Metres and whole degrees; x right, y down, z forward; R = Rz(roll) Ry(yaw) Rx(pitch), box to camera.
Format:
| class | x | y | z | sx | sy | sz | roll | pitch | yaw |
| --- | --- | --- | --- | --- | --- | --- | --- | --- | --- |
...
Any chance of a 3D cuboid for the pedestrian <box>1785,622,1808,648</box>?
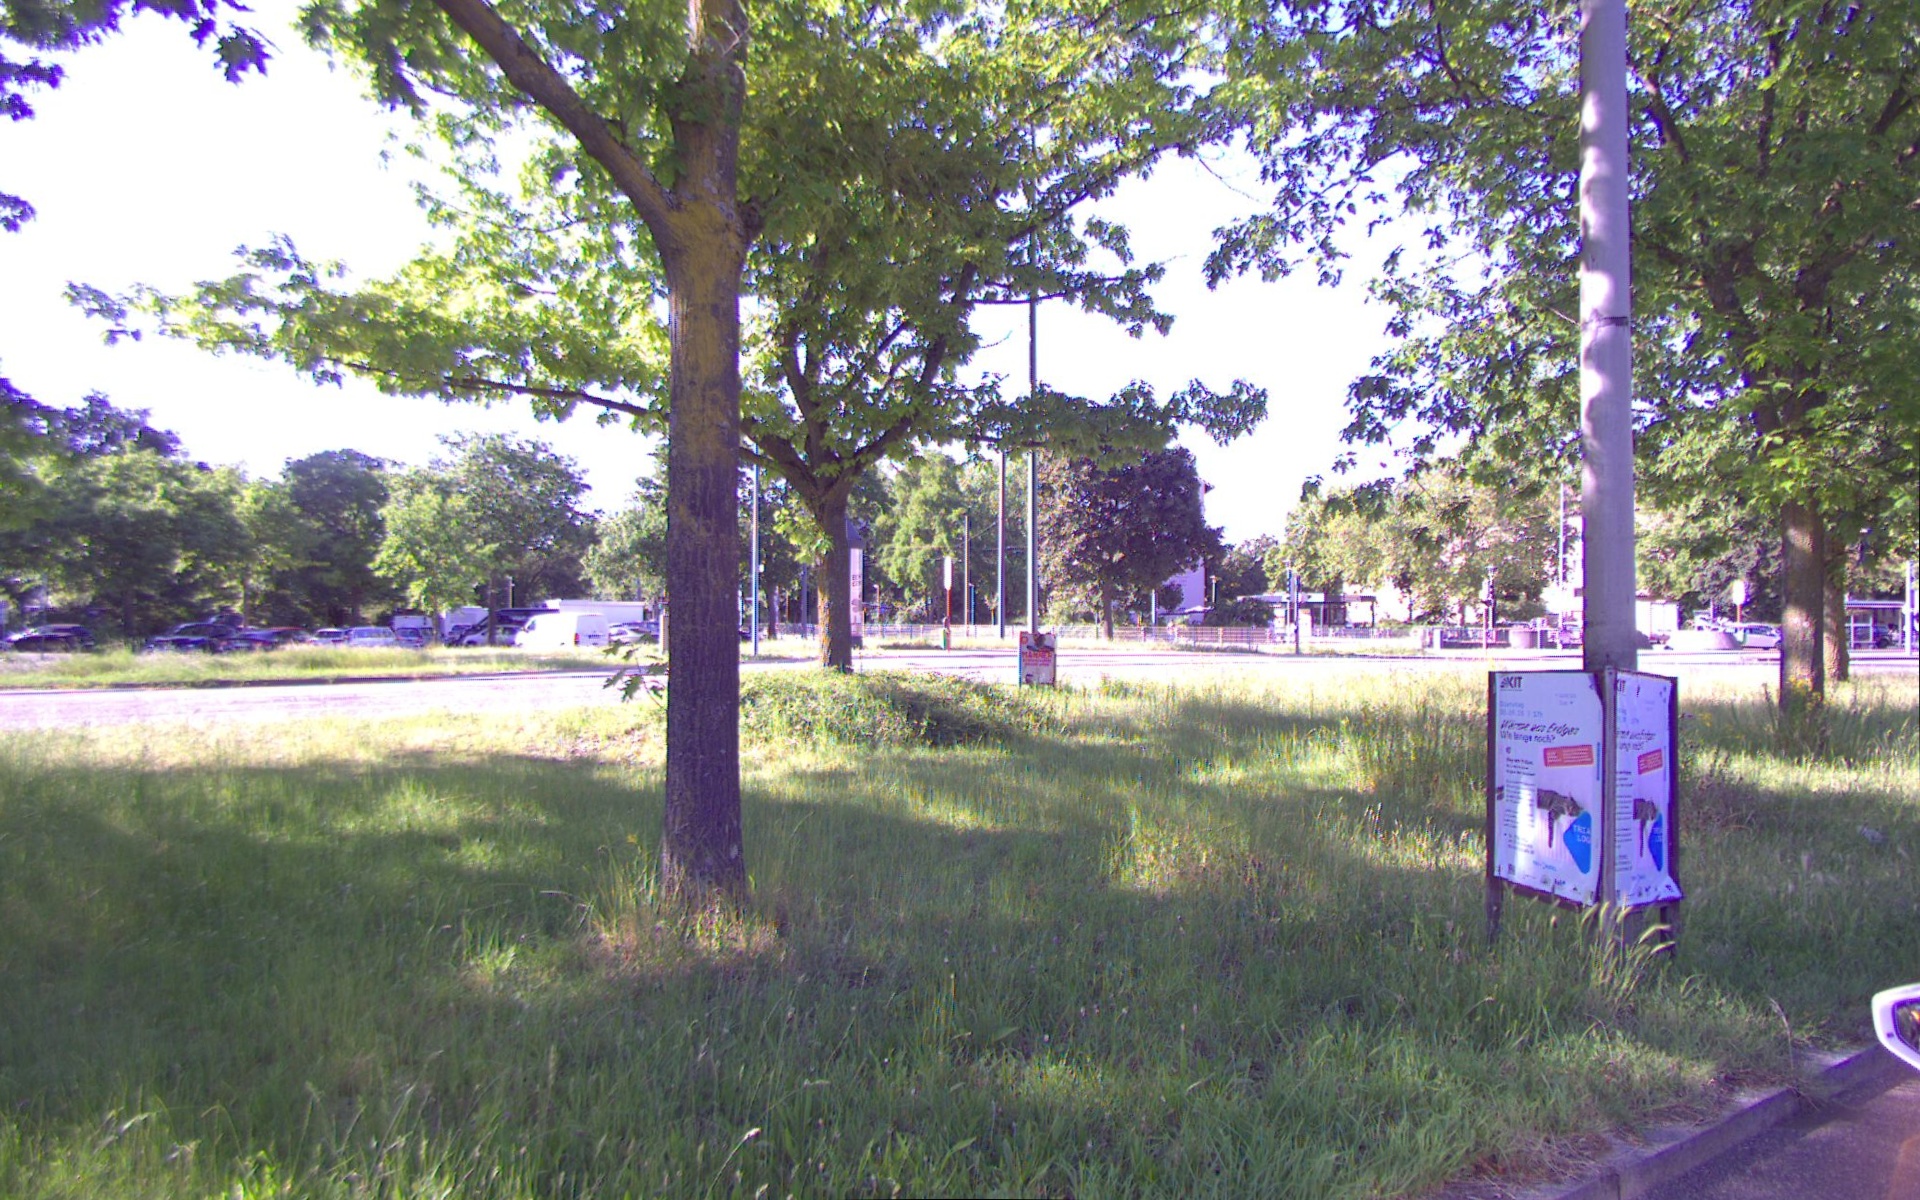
| class | x | y | z | sx | sy | sz | roll | pitch | yaw |
| --- | --- | --- | --- | --- | --- | --- | --- | --- | --- |
| pedestrian | 53.646 | 2.232 | 64.440 | 0.781 | 1.629 | 0.923 | 0 | -1 | 9 |

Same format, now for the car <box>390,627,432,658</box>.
| class | x | y | z | sx | sy | sz | roll | pitch | yaw |
| --- | --- | --- | --- | --- | --- | --- | --- | --- | --- |
| car | -26.696 | 2.032 | 48.784 | 1.602 | 1.438 | 3.050 | 1 | -1 | -33 |

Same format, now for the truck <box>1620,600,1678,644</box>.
| class | x | y | z | sx | sy | sz | roll | pitch | yaw |
| --- | --- | --- | --- | --- | --- | --- | --- | --- | --- |
| truck | 46.647 | 1.477 | 68.089 | 1.960 | 2.842 | 4.002 | 0 | -1 | 15 |

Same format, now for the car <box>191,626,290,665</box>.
| class | x | y | z | sx | sy | sz | roll | pitch | yaw |
| --- | --- | --- | --- | --- | --- | --- | --- | --- | --- |
| car | -25.229 | 1.566 | 35.249 | 2.769 | 1.323 | 1.326 | 1 | -1 | -40 |

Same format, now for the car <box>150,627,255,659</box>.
| class | x | y | z | sx | sy | sz | roll | pitch | yaw |
| --- | --- | --- | --- | --- | --- | --- | --- | --- | --- |
| car | -26.839 | 1.507 | 35.634 | 1.315 | 1.078 | 2.777 | -1 | -1 | 42 |

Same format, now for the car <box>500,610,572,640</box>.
| class | x | y | z | sx | sy | sz | roll | pitch | yaw |
| --- | --- | --- | --- | --- | --- | --- | --- | --- | --- |
| car | -24.124 | 1.416 | 57.294 | 3.698 | 1.691 | 1.883 | 1 | -1 | -23 |

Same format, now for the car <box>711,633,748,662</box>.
| class | x | y | z | sx | sy | sz | roll | pitch | yaw |
| --- | --- | --- | --- | --- | --- | --- | --- | --- | --- |
| car | -12.025 | 2.457 | 52.492 | 1.589 | 1.438 | 3.073 | 0 | -1 | -8 |

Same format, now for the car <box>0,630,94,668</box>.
| class | x | y | z | sx | sy | sz | roll | pitch | yaw |
| --- | --- | --- | --- | --- | --- | --- | --- | --- | --- |
| car | -47.654 | 2.501 | 51.911 | 1.966 | 1.817 | 3.990 | 0 | -1 | 32 |

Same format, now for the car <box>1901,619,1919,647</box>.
| class | x | y | z | sx | sy | sz | roll | pitch | yaw |
| --- | --- | --- | --- | --- | --- | --- | --- | --- | --- |
| car | 71.703 | 2.391 | 73.248 | 1.910 | 2.040 | 4.155 | 1 | -1 | -31 |

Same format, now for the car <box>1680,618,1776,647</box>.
| class | x | y | z | sx | sy | sz | roll | pitch | yaw |
| --- | --- | --- | --- | --- | --- | --- | --- | --- | --- |
| car | 46.913 | 1.964 | 61.464 | 4.233 | 1.706 | 2.001 | 0 | -1 | 9 |

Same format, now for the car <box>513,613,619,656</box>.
| class | x | y | z | sx | sy | sz | roll | pitch | yaw |
| --- | --- | --- | --- | --- | --- | --- | --- | --- | --- |
| car | -17.214 | 1.477 | 43.805 | 4.670 | 1.762 | 2.024 | 0 | -1 | 34 |

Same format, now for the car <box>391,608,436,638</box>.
| class | x | y | z | sx | sy | sz | roll | pitch | yaw |
| --- | --- | --- | --- | --- | --- | --- | --- | --- | --- |
| car | -32.482 | 1.369 | 59.792 | 1.865 | 1.691 | 3.733 | 1 | -1 | -22 |

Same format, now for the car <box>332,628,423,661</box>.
| class | x | y | z | sx | sy | sz | roll | pitch | yaw |
| --- | --- | --- | --- | --- | --- | --- | --- | --- | --- |
| car | -21.822 | 1.637 | 37.639 | 2.769 | 1.171 | 1.326 | 1 | -1 | -40 |

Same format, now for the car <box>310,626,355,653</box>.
| class | x | y | z | sx | sy | sz | roll | pitch | yaw |
| --- | --- | --- | --- | --- | --- | --- | --- | --- | --- |
| car | -29.289 | 1.828 | 46.871 | 1.603 | 1.194 | 3.047 | 1 | -1 | -35 |
